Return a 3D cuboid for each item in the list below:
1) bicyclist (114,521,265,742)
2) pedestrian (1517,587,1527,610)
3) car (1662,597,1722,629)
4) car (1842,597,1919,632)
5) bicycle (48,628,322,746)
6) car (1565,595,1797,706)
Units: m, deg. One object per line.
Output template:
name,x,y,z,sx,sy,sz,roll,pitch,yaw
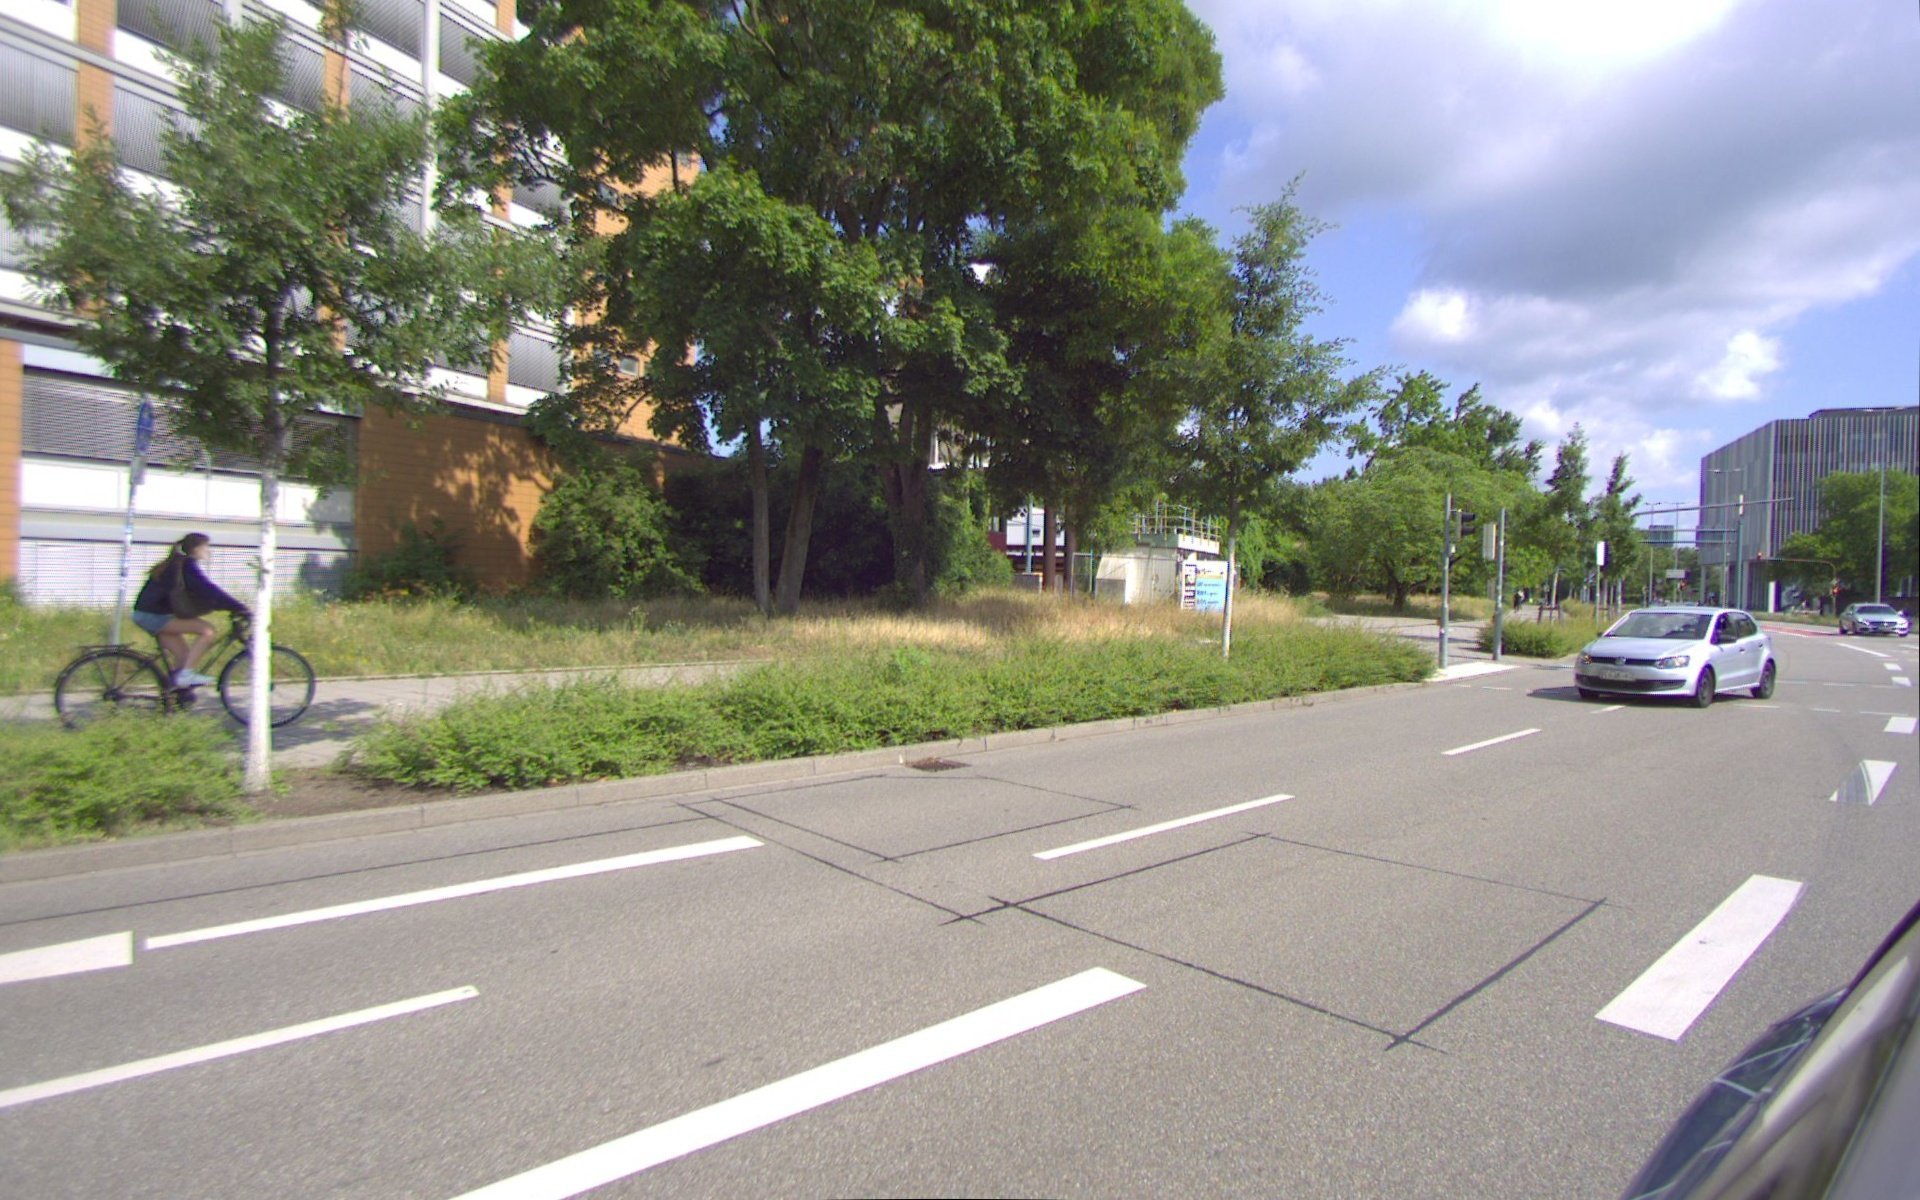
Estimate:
bicyclist,-6.416,0.227,8.440,0.948,1.723,0.738,1,3,-39
pedestrian,40.905,-0.117,73.645,0.536,1.628,0.520,2,-1,24
car,35.834,0.592,49.652,1.985,1.394,4.114,3,2,31
car,41.819,0.621,45.802,2.046,1.460,4.727,0,0,31
bicycle,-6.405,0.680,8.454,1.757,0.820,0.626,0,3,-40
car,11.106,0.691,15.524,3.928,1.460,1.657,0,1,-35
